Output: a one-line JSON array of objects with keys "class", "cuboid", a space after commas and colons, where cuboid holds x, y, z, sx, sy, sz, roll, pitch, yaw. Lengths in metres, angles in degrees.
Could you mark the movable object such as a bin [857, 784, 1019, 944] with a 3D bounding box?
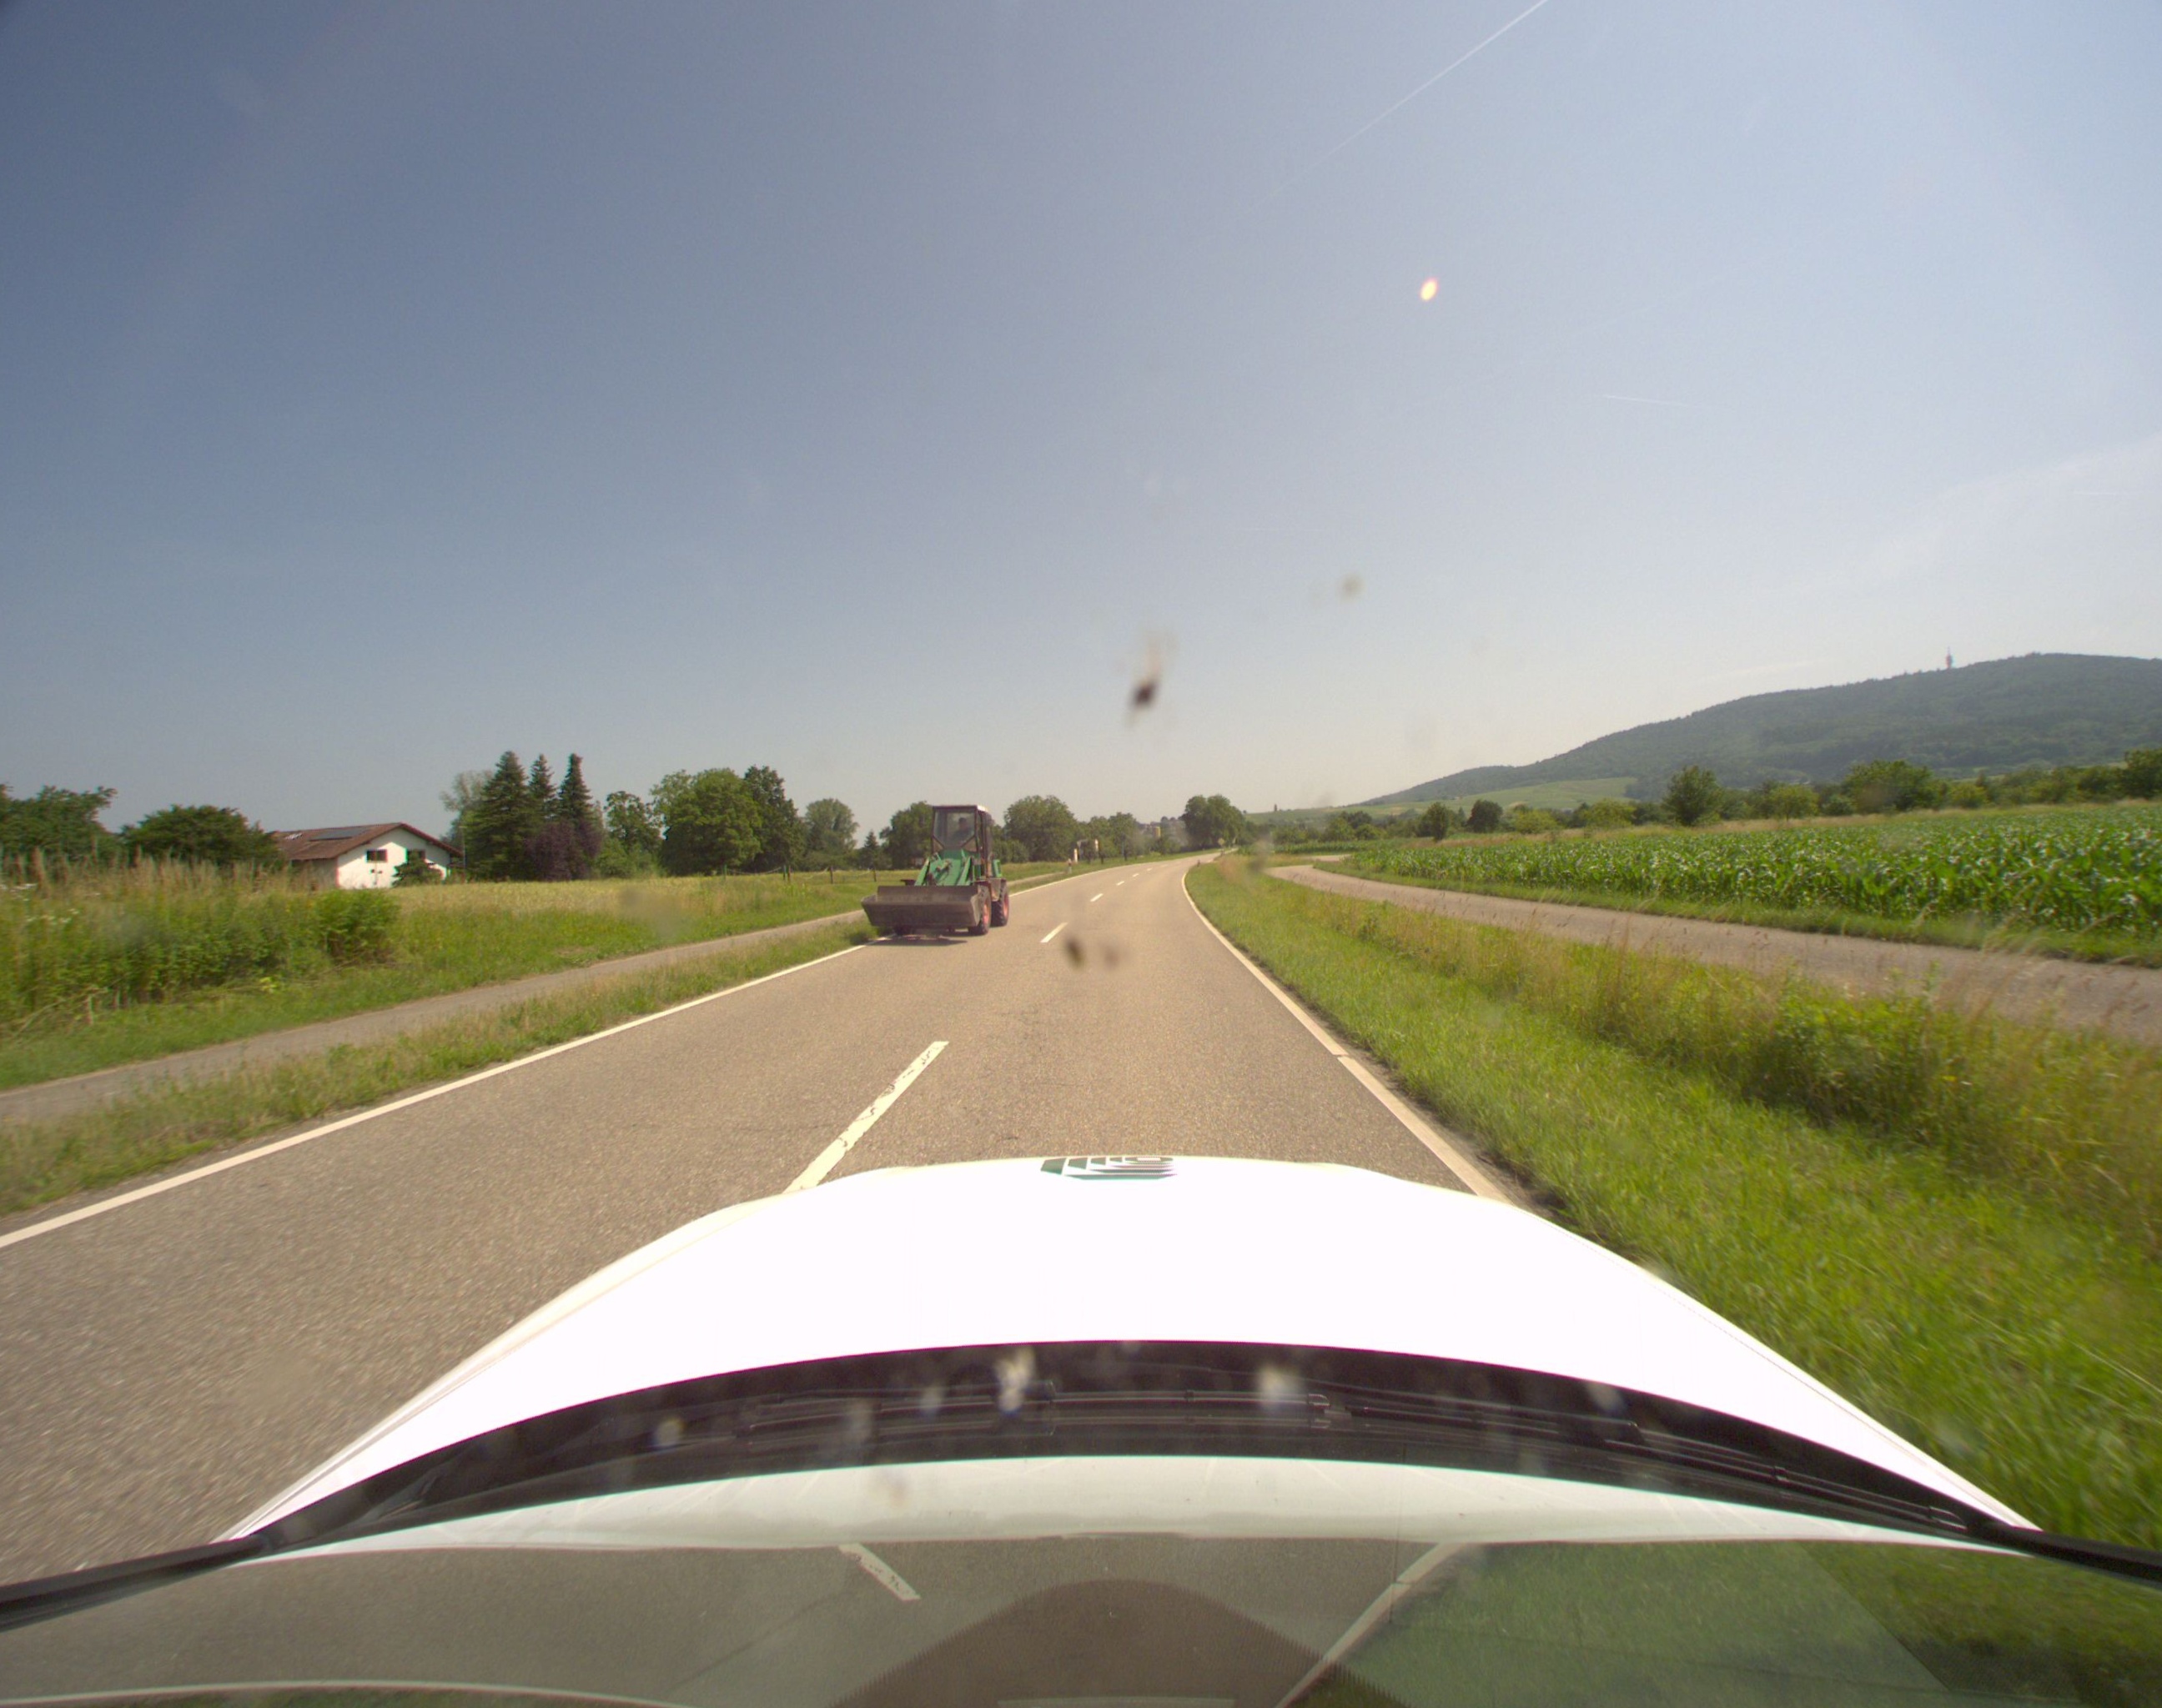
[{"class": "movable object such as a bin", "cuboid": [-2.672, 0.167, 16.661, 1.992, 2.755, 5.236, 0, 0, 4]}]
